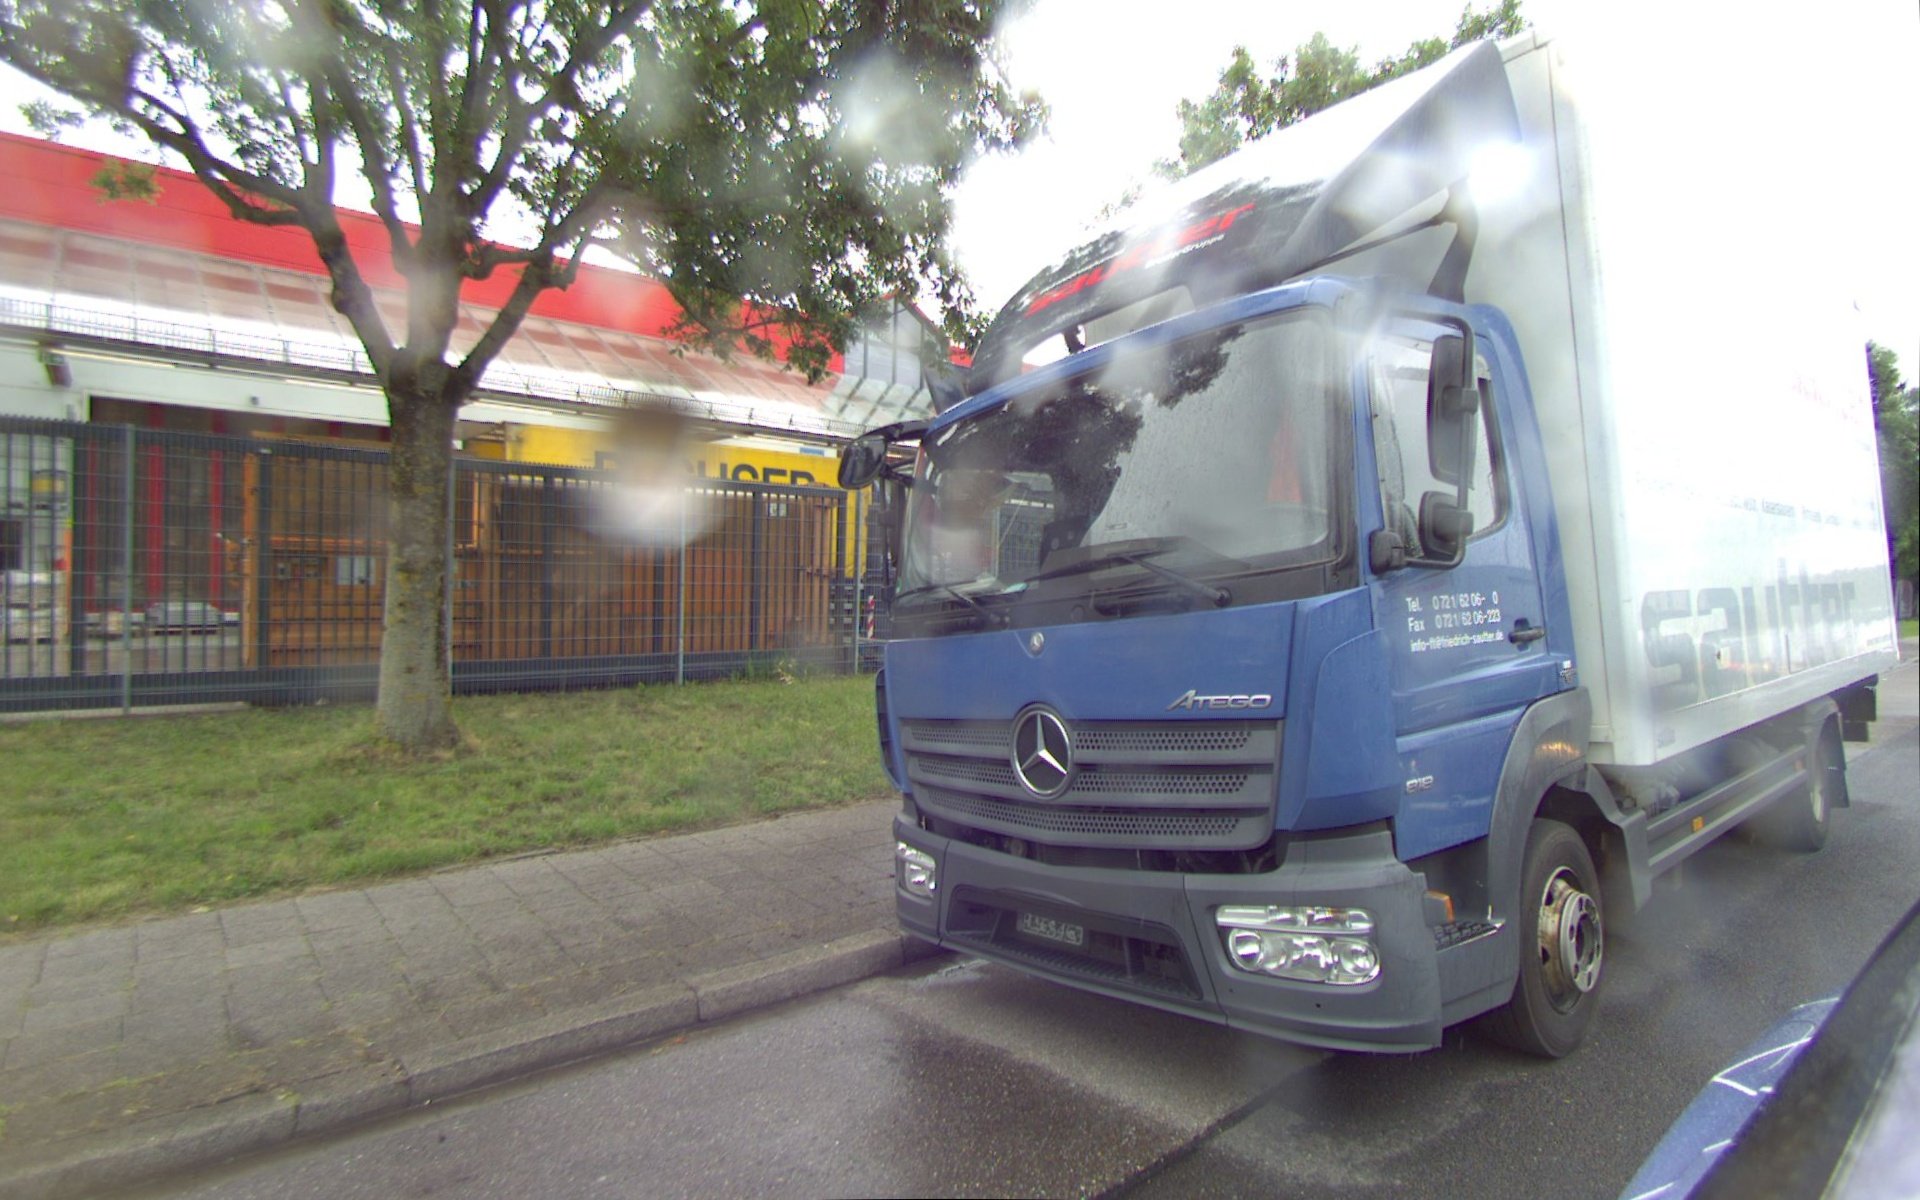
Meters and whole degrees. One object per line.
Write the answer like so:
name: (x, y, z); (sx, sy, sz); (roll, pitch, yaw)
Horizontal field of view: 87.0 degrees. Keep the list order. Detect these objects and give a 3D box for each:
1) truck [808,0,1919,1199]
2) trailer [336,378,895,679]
truck: (3.197, -0.398, 5.965); (7.867, 3.740, 2.676); (0, -2, -40)
trailer: (-5.802, -1.148, 18.614); (9.306, 4.295, 2.972); (-1, 2, -41)
